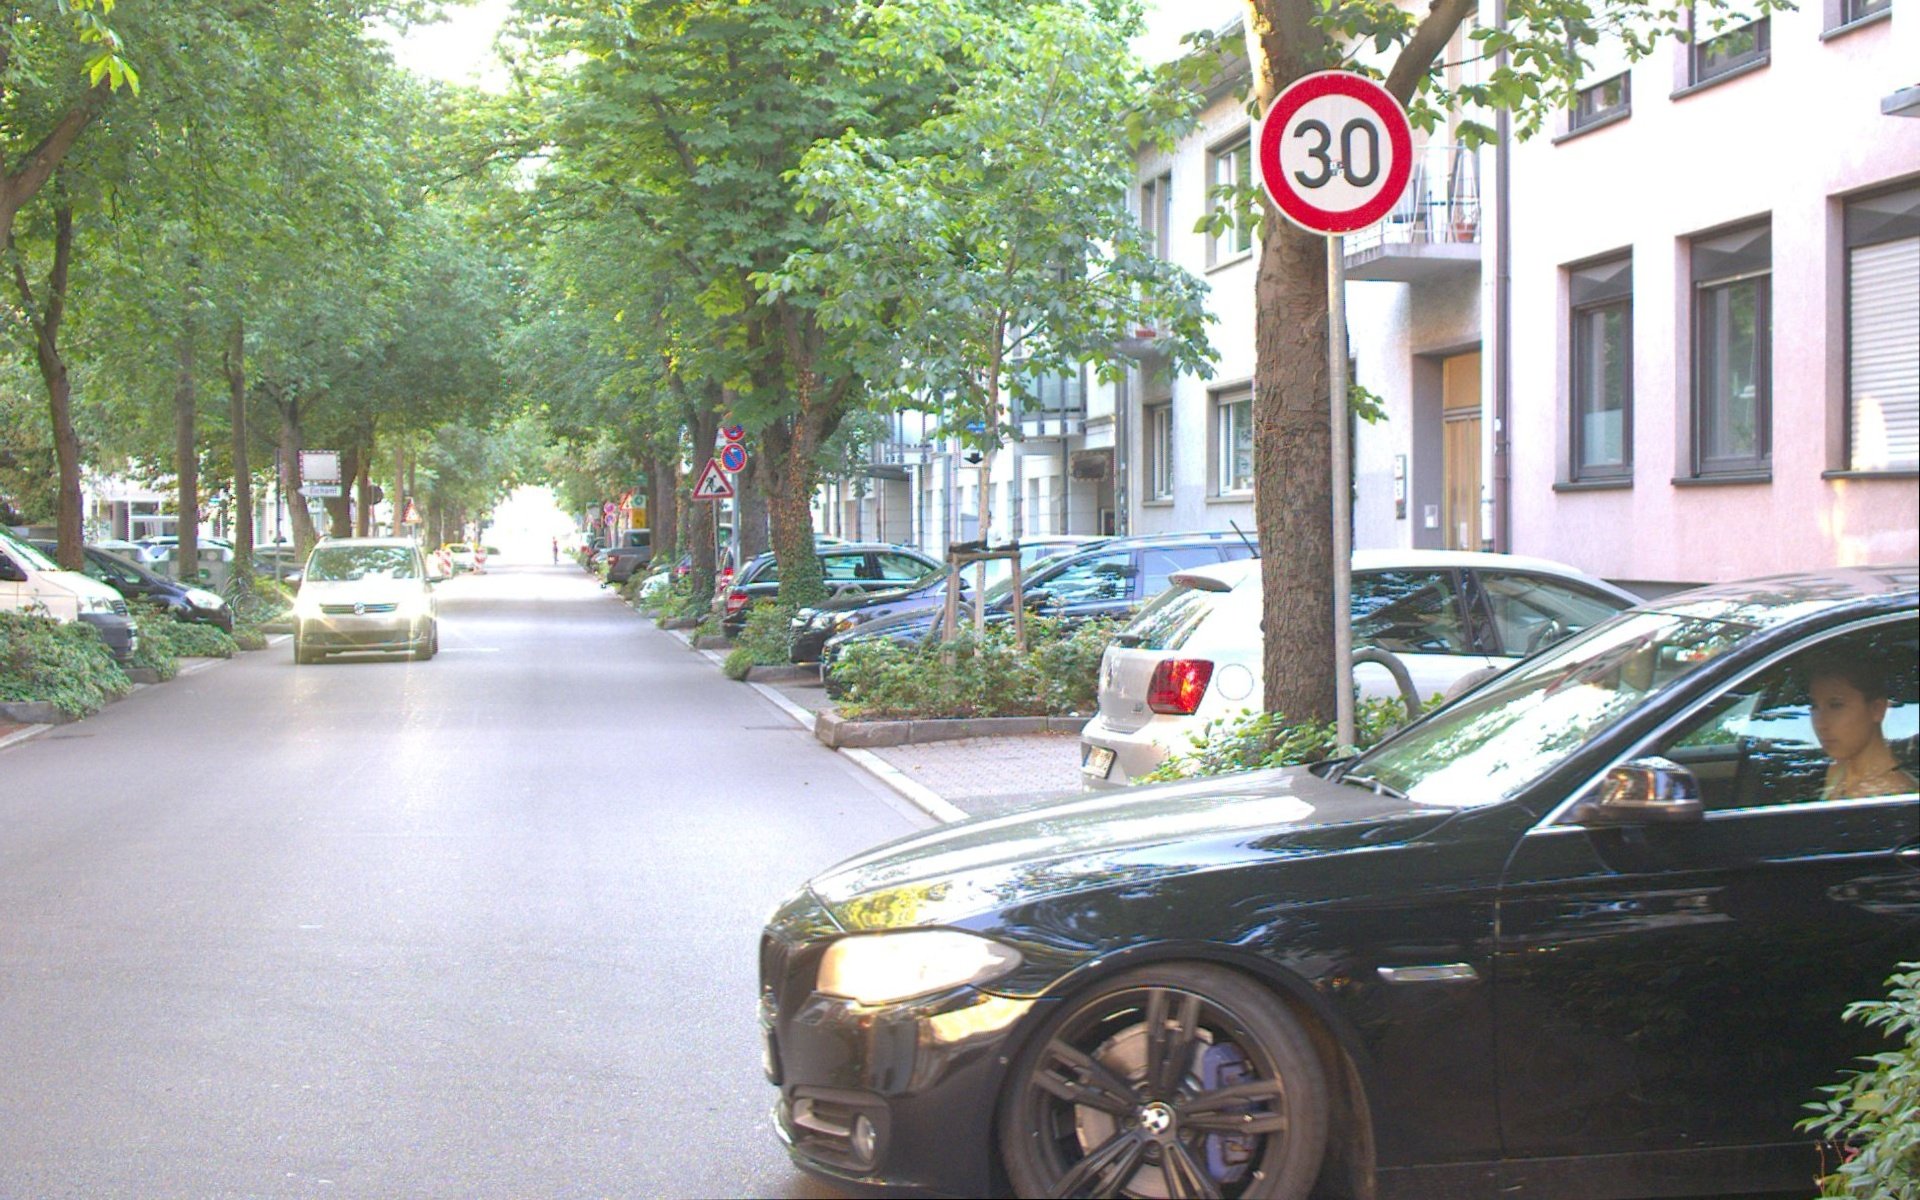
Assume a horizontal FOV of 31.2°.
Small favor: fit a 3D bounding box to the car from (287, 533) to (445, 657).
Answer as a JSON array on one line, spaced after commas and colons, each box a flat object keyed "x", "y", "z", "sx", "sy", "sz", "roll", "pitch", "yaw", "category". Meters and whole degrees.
[{"x": -7.821, "y": -0.102, "z": 45.571, "sx": 1.779, "sy": 1.557, "sz": 4.169, "roll": 0, "pitch": 1, "yaw": -6, "category": "car"}]

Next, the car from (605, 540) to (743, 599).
[{"x": -8.381, "y": -0.897, "z": 100.737, "sx": 3.967, "sy": 1.678, "sz": 1.785, "roll": 0, "pitch": 1, "yaw": -5, "category": "car"}]

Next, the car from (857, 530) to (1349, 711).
[{"x": 1.189, "y": 0.150, "z": 29.635, "sx": 3.967, "sy": 1.471, "sz": 1.785, "roll": -1, "pitch": 1, "yaw": -8, "category": "car"}]

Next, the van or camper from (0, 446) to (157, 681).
[{"x": -11.146, "y": -0.395, "z": 37.006, "sx": 4.662, "sy": 2.470, "sz": 2.000, "roll": 0, "pitch": 1, "yaw": -7, "category": "van or camper"}]

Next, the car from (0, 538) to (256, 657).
[{"x": -11.945, "y": -0.050, "z": 48.004, "sx": 3.967, "sy": 1.614, "sz": 1.785, "roll": 0, "pitch": 1, "yaw": -6, "category": "car"}]

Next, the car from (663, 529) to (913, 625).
[{"x": -2.869, "y": -0.392, "z": 56.786, "sx": 3.967, "sy": 1.522, "sz": 1.785, "roll": -1, "pitch": 1, "yaw": -8, "category": "car"}]

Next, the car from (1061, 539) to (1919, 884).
[{"x": 2.546, "y": 0.464, "z": 16.038, "sx": 3.908, "sy": 1.471, "sz": 1.665, "roll": -1, "pitch": 1, "yaw": -8, "category": "car"}]

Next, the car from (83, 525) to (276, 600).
[{"x": -17.241, "y": -0.838, "z": 76.076, "sx": 3.967, "sy": 1.614, "sz": 1.785, "roll": 0, "pitch": 1, "yaw": -5, "category": "car"}]

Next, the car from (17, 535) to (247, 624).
[{"x": -15.486, "y": -0.394, "z": 64.469, "sx": 3.967, "sy": 1.614, "sz": 1.785, "roll": 0, "pitch": 1, "yaw": -5, "category": "car"}]

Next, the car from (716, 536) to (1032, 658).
[{"x": -1.151, "y": -0.061, "z": 44.923, "sx": 3.967, "sy": 1.522, "sz": 1.785, "roll": -1, "pitch": 1, "yaw": -7, "category": "car"}]

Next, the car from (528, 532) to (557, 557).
[{"x": -26.632, "y": -3.550, "z": 219.410, "sx": 1.822, "sy": 1.525, "sz": 4.001, "roll": 0, "pitch": 1, "yaw": -6, "category": "car"}]

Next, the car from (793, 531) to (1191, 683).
[{"x": 0.303, "y": 0.050, "z": 36.113, "sx": 3.967, "sy": 1.522, "sz": 1.785, "roll": -1, "pitch": 1, "yaw": -7, "category": "car"}]

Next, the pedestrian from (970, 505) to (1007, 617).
[{"x": 0.520, "y": -0.714, "z": 62.189, "sx": 0.589, "sy": 2.007, "sz": 0.669, "roll": 0, "pitch": 1, "yaw": -5, "category": "pedestrian"}]

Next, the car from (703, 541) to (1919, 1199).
[{"x": 1.815, "y": 0.608, "z": 7.920, "sx": 4.744, "sy": 1.475, "sz": 1.800, "roll": 0, "pitch": 1, "yaw": -6, "category": "car"}]
